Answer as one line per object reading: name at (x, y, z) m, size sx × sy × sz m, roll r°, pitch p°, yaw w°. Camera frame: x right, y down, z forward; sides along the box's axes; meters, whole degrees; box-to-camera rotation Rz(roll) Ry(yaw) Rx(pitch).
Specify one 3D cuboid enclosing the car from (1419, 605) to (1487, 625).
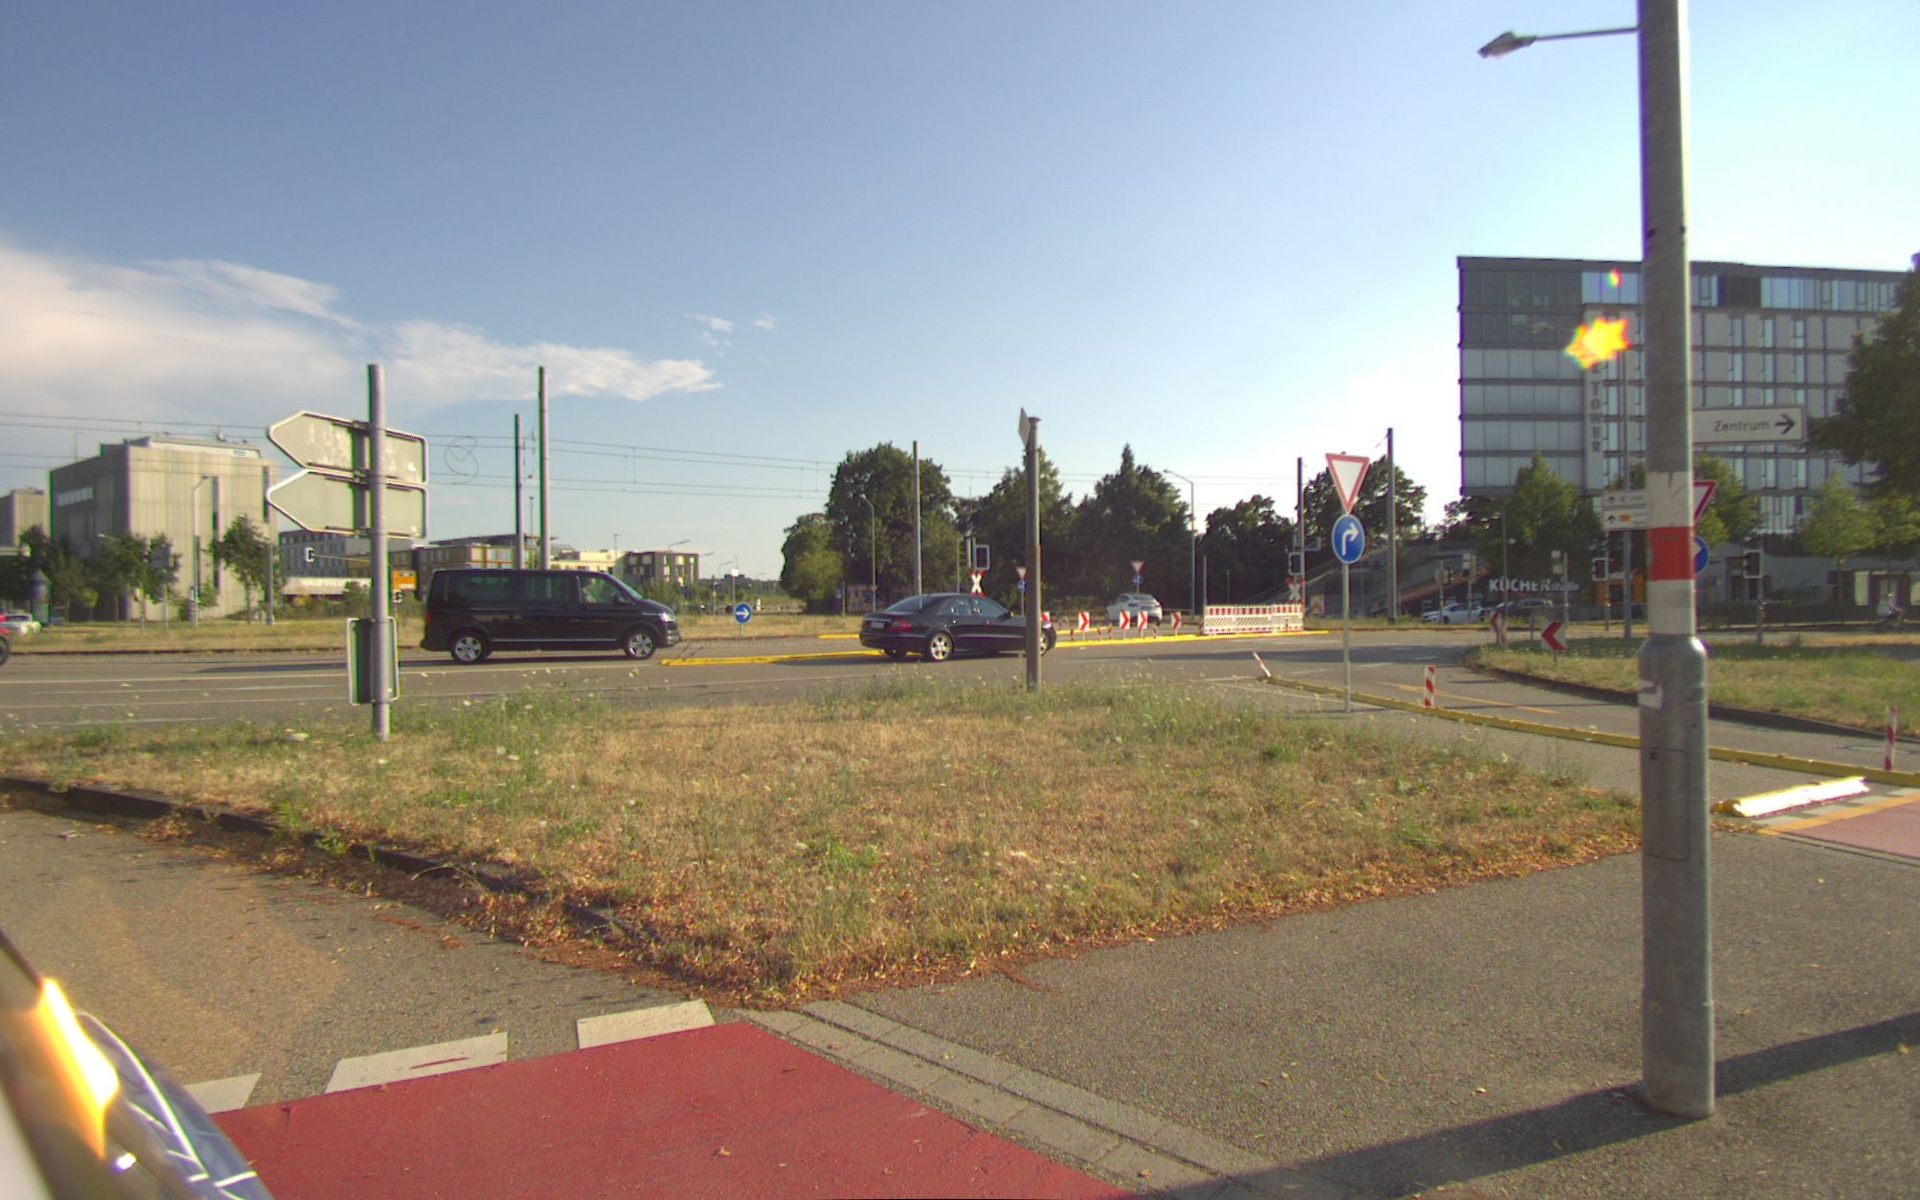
car at (31.208, 0.944, 64.079) m, size 3.452 × 1.249 × 1.660 m, roll 0°, pitch -1°, yaw -3°

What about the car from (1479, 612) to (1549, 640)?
car at (33.106, 1.534, 60.521) m, size 3.296 × 1.586 × 1.561 m, roll -1°, pitch -1°, yaw 5°

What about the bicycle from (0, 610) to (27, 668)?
bicycle at (-20.931, 0.828, 21.275) m, size 2.006 × 1.193 × 0.819 m, roll -1°, pitch -1°, yaw 6°

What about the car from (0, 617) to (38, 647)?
car at (-53.783, 1.813, 57.512) m, size 1.969 × 1.652 × 4.005 m, roll 0°, pitch -1°, yaw -42°

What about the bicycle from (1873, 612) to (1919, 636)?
bicycle at (38.907, 0.997, 41.877) m, size 1.690 × 0.936 × 0.853 m, roll -1°, pitch 0°, yaw -13°

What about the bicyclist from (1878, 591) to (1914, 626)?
bicyclist at (38.693, 0.339, 41.849) m, size 0.618 × 1.420 × 0.873 m, roll -1°, pitch 0°, yaw -14°

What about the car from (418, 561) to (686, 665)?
car at (-8.686, 0.233, 21.953) m, size 5.154 × 2.063 × 2.101 m, roll -1°, pitch 0°, yaw -19°

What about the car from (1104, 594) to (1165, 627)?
car at (8.702, 0.515, 50.858) m, size 1.969 × 1.586 × 4.006 m, roll -1°, pitch 0°, yaw -6°

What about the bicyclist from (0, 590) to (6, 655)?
bicyclist at (-20.917, 0.501, 21.307) m, size 0.762 × 1.395 × 0.882 m, roll -1°, pitch 2°, yaw 6°

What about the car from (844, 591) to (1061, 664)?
car at (-0.096, 0.540, 22.384) m, size 4.624 × 1.417 × 1.847 m, roll -1°, pitch 0°, yaw -37°
